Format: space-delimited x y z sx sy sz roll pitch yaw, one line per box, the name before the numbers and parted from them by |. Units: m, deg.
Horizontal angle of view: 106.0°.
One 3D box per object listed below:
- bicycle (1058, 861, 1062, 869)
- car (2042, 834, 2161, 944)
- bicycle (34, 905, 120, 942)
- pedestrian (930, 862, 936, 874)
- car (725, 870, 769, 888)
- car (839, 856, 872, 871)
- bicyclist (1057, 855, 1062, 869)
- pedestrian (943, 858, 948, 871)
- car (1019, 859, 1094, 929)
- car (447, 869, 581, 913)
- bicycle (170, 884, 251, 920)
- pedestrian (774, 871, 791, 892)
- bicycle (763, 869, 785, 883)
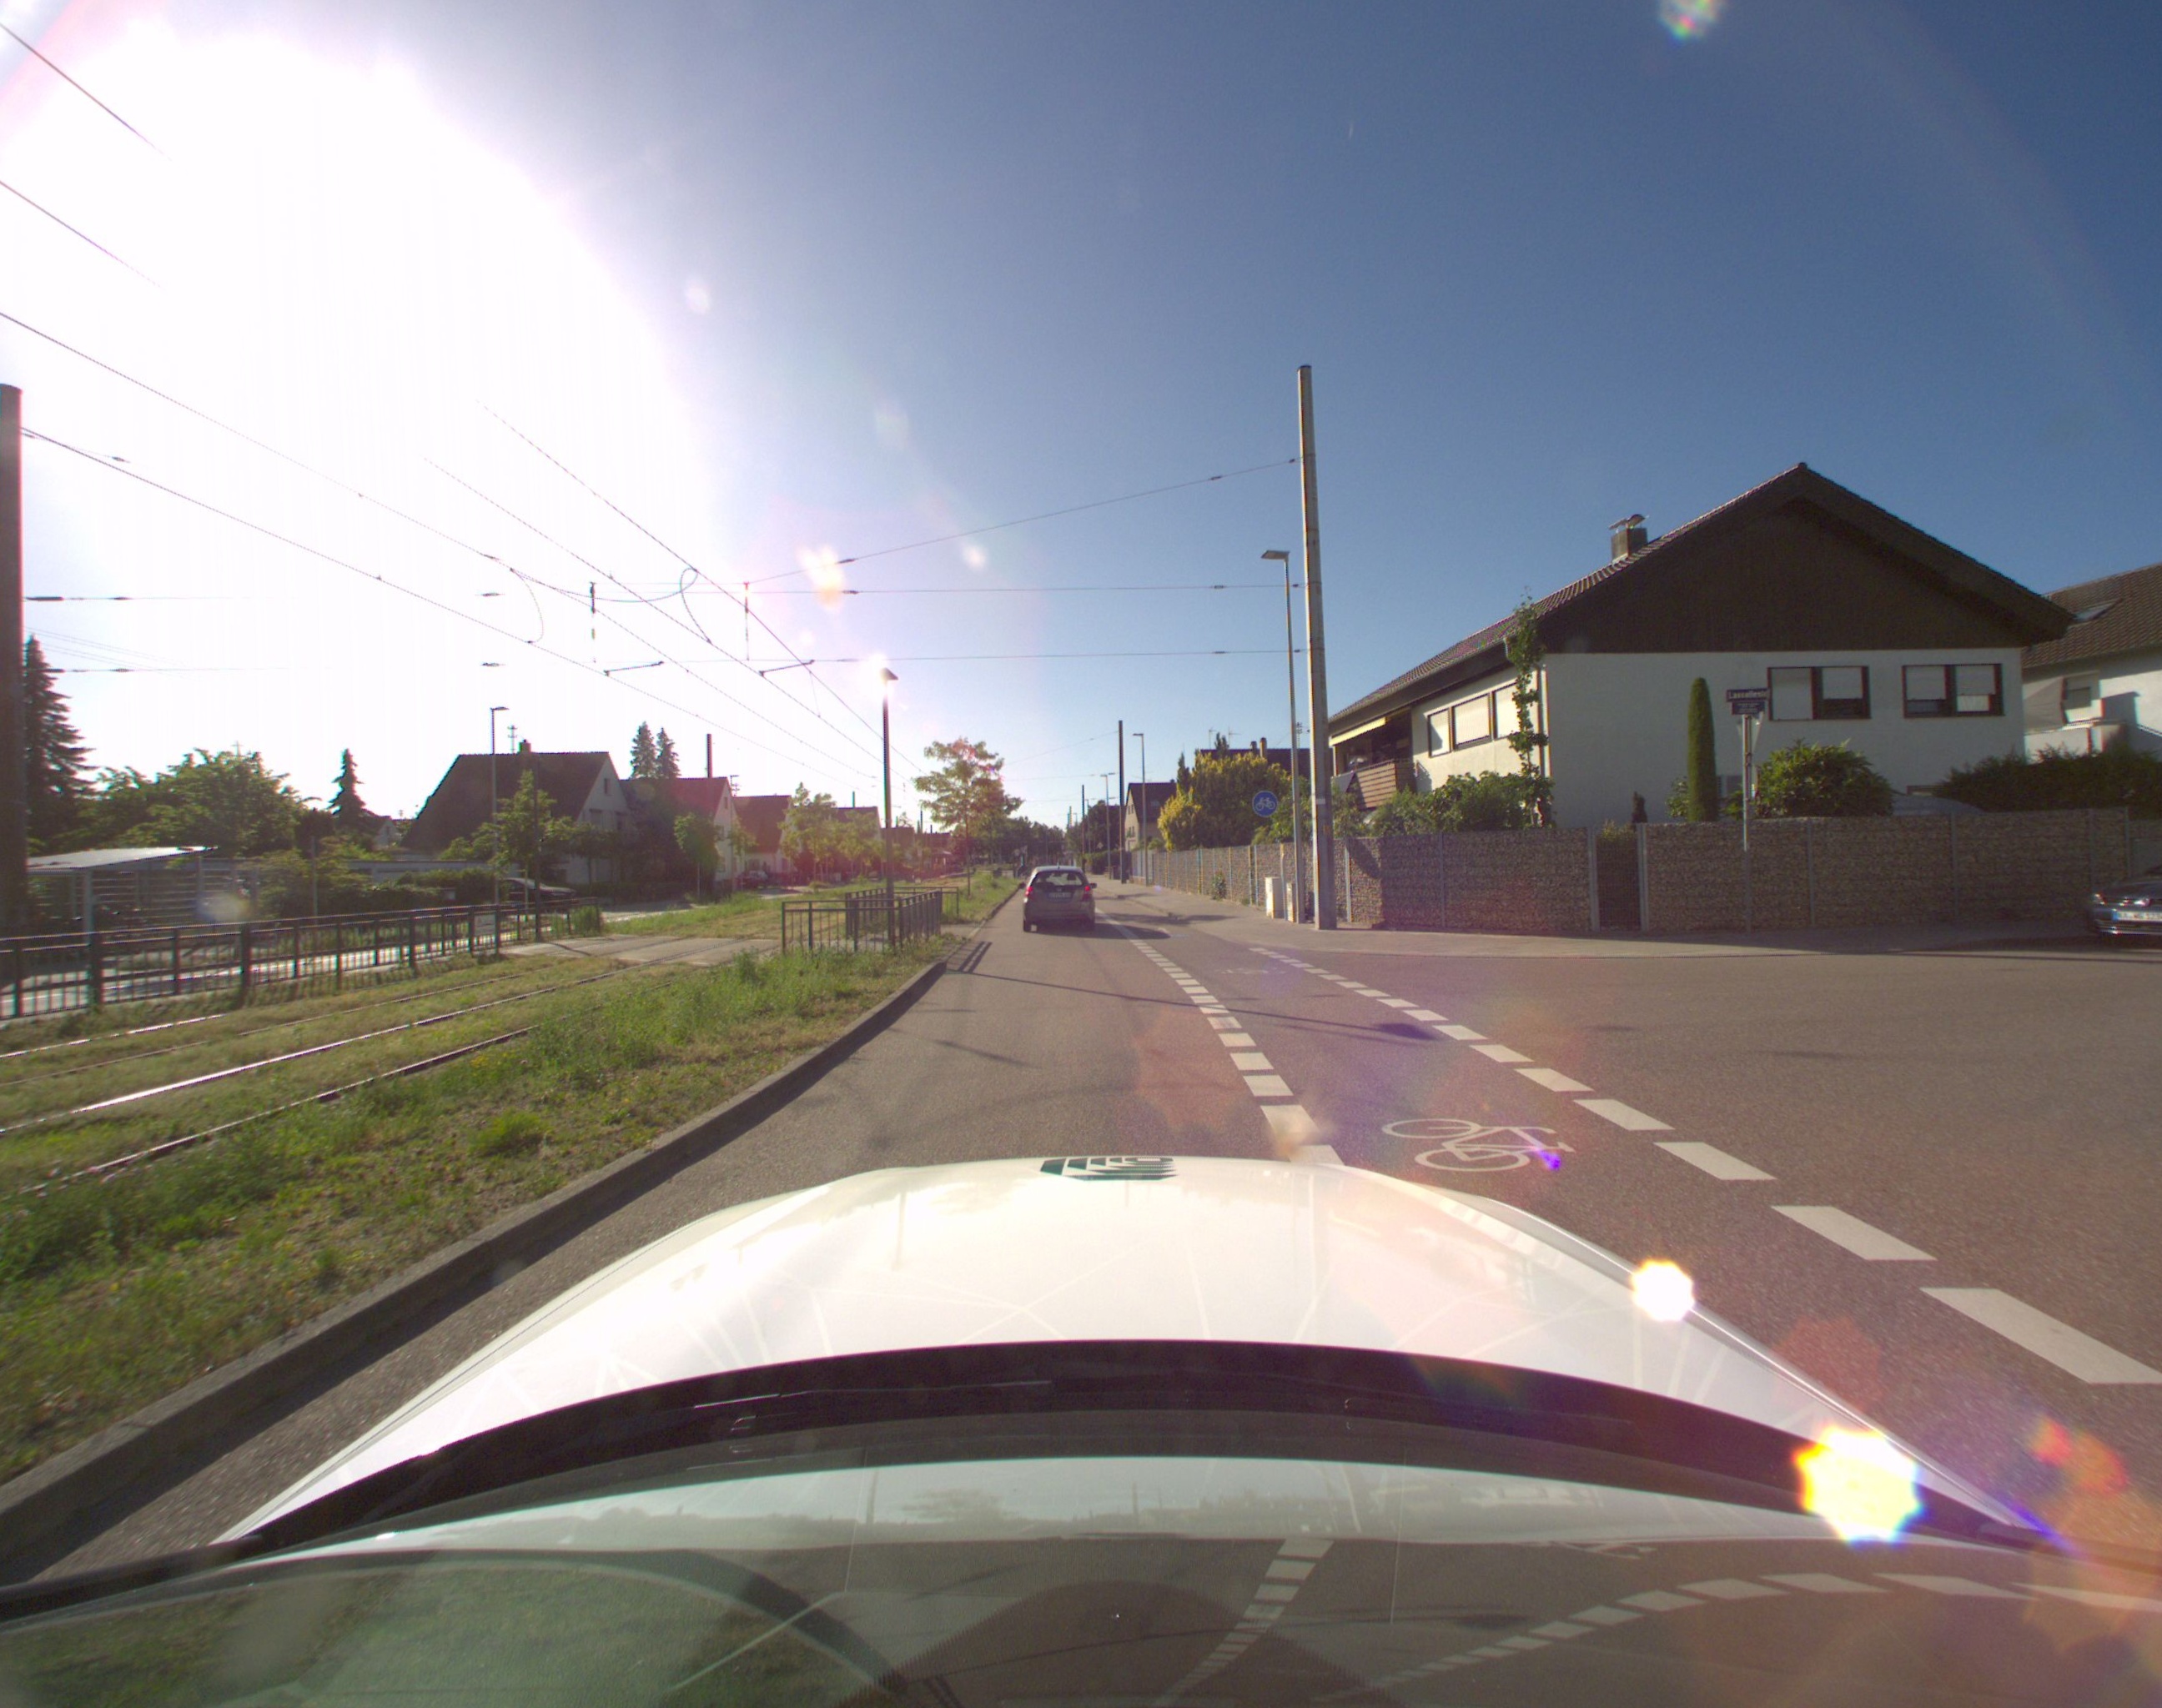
bicycle | -2.561 1.395 99.612 0.474 0.961 1.655 0 -1 -3
car | 15.664 0.392 10.690 3.976 1.373 1.856 -2 -1 -2
bicycle | -24.850 1.706 20.195 0.310 0.821 1.507 0 -1 -3
pedestrian | -18.027 1.710 99.187 0.674 1.536 0.747 -2 -1 -8
car | -29.057 2.152 71.003 1.930 1.450 5.156 -2 -1 -3
car | -29.960 1.326 108.237 3.988 1.970 1.925 0 -1 -11
bicyclist | -2.674 0.951 99.414 0.597 1.701 0.682 0 -2 -3
pedestrian | -18.148 1.446 109.209 0.499 1.696 0.770 -4 0 -3
car | -0.544 0.915 19.970 1.665 1.536 3.486 -1 -1 0
car | -25.895 1.647 37.387 4.548 1.734 2.042 -2 -1 -15
bicycle | -24.240 1.322 22.715 0.422 0.942 1.746 0 -1 -3
pedestrian | -24.062 2.180 65.572 0.963 1.640 1.084 -2 -1 -4
bicycle | -31.257 2.243 82.892 1.989 1.366 0.702 -2 -1 -10
